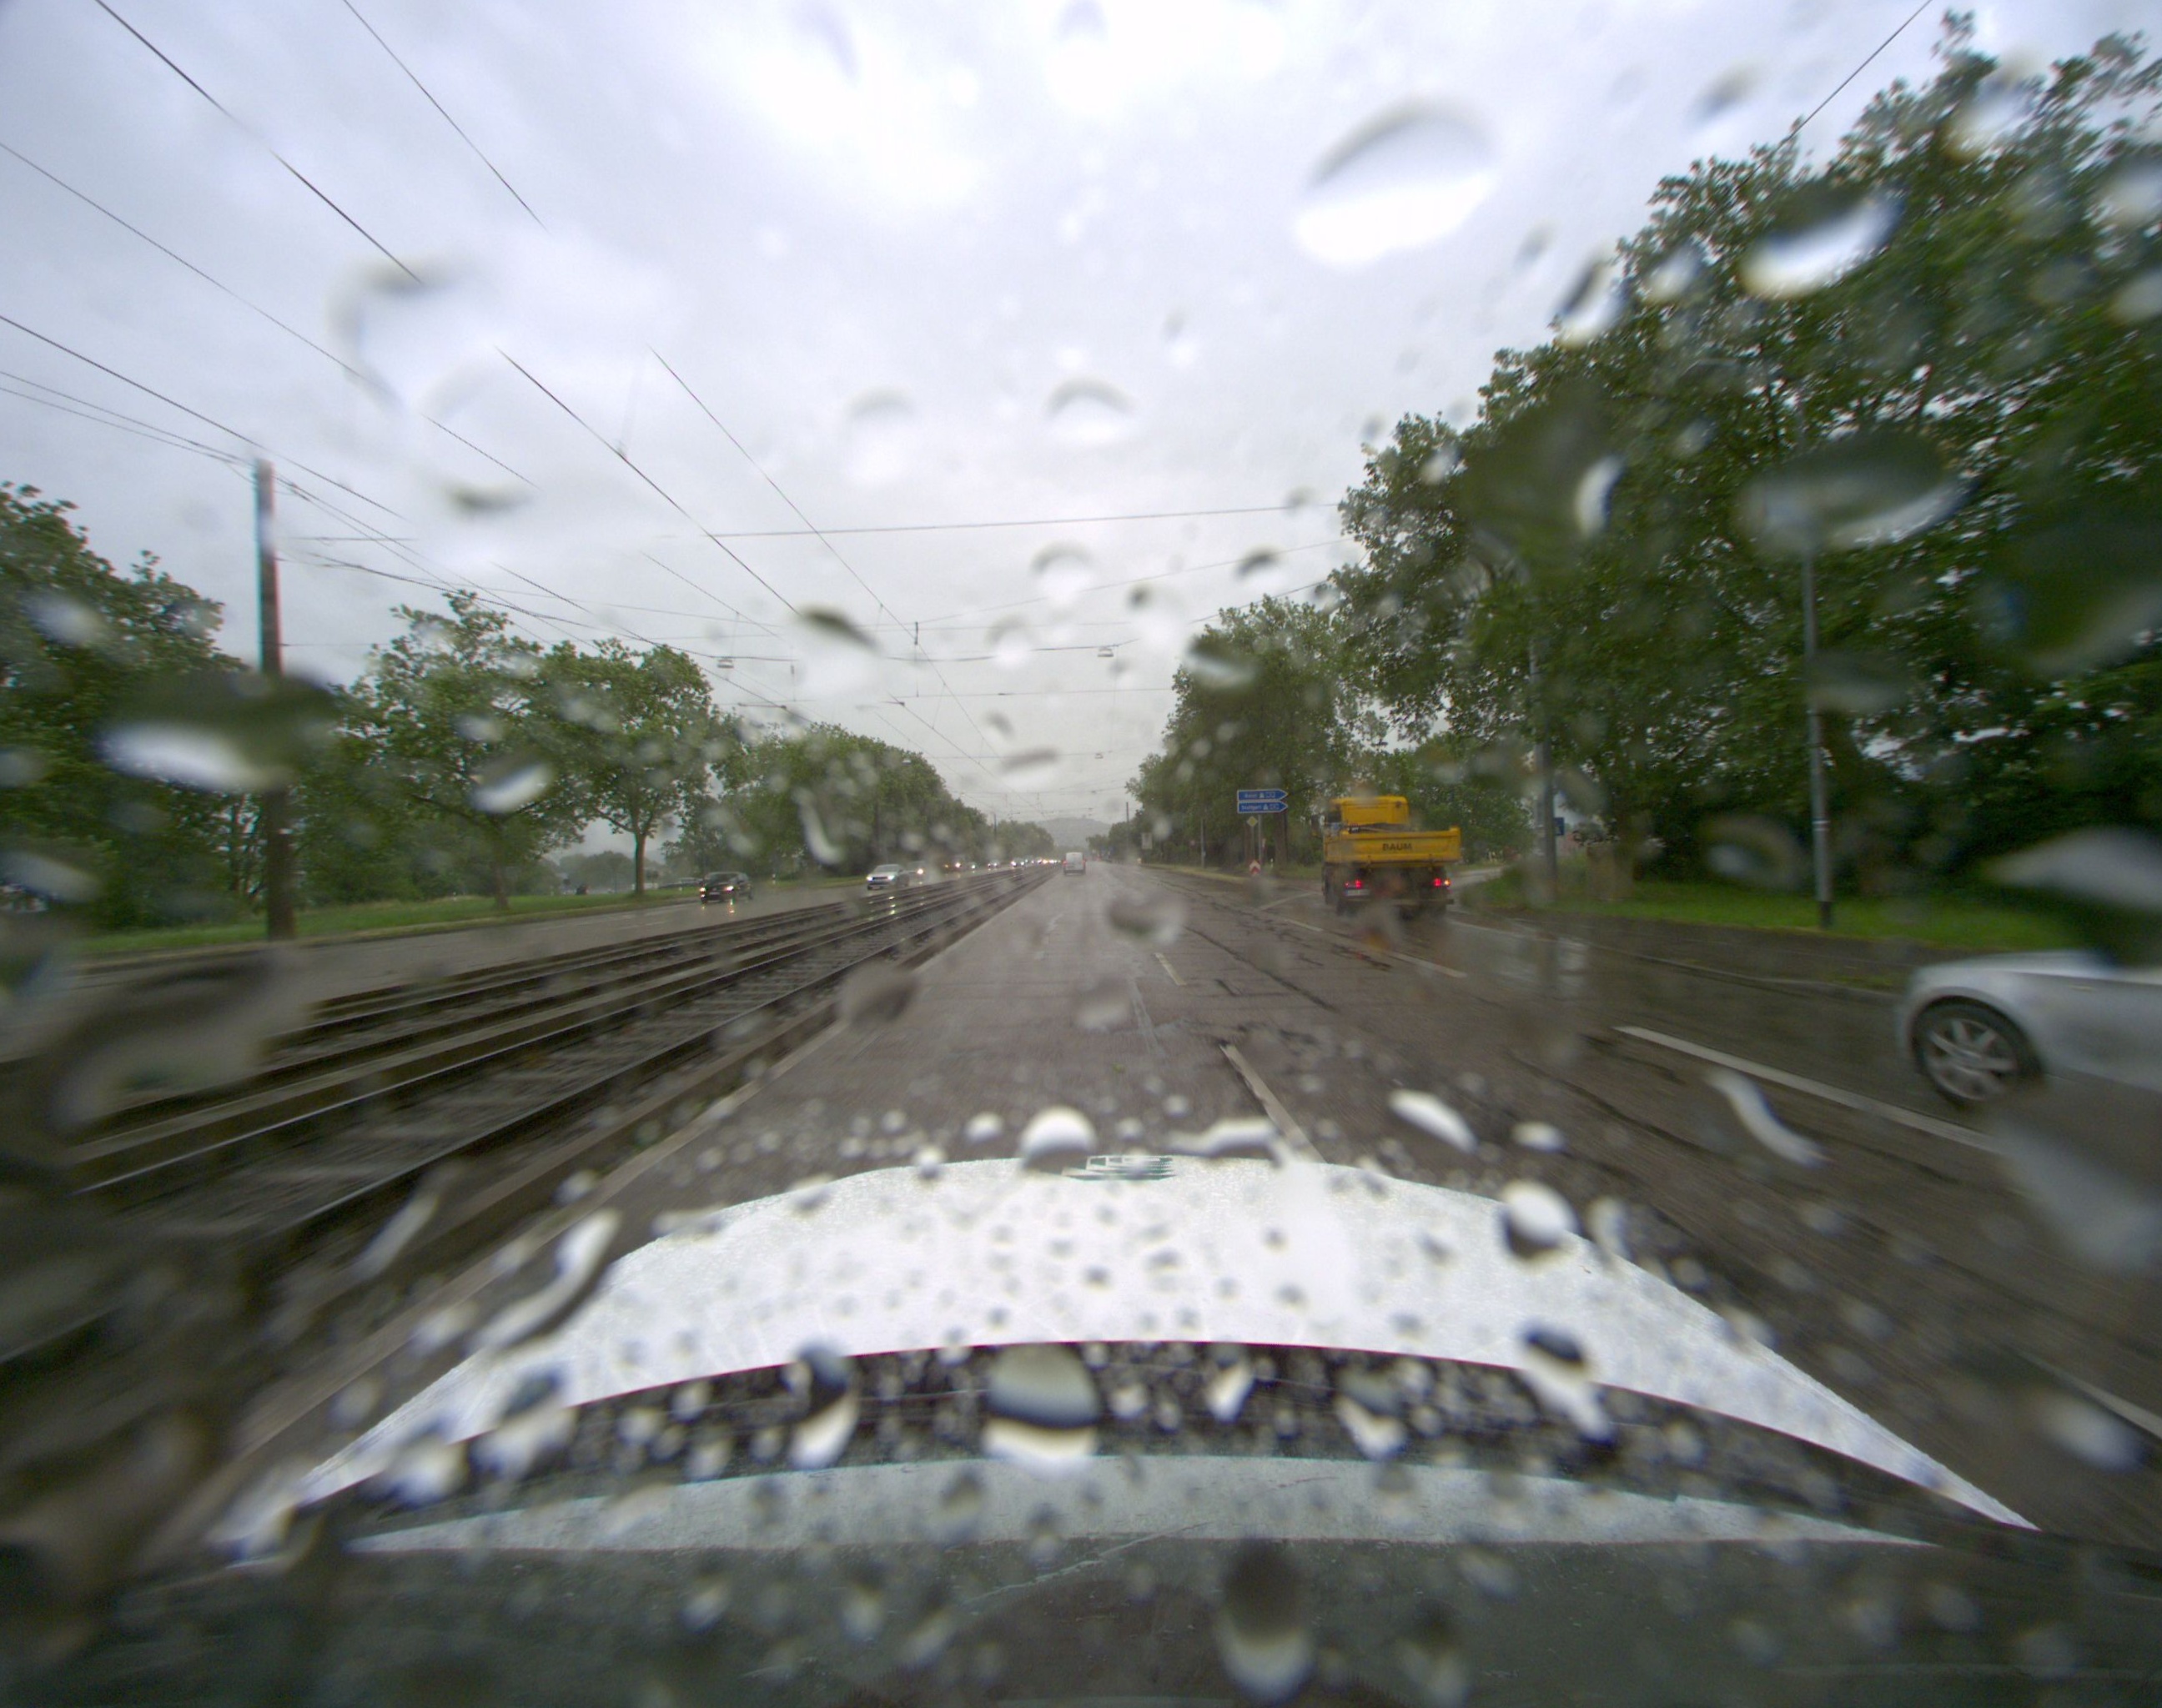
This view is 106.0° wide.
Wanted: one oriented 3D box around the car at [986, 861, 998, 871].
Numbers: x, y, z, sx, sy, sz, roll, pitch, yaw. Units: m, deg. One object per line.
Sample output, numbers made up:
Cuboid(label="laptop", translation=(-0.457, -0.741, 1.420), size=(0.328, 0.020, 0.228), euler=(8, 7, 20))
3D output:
Cuboid(label="car", translation=(-16.503, 2.292, 151.251), size=(1.813, 1.706, 5.020), euler=(0, 1, 0))

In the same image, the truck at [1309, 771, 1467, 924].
Cuboid(label="truck", translation=(7.523, -0.182, 20.904), size=(2.540, 3.257, 6.952), euler=(0, 1, 10))

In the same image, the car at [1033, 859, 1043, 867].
Cuboid(label="car", translation=(-9.657, 2.055, 183.465), size=(1.770, 1.585, 5.681), euler=(0, 1, 0))

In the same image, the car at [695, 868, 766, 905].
Cuboid(label="car", translation=(-16.767, 1.527, 39.198), size=(1.684, 1.552, 3.999), euler=(0, 1, 0))

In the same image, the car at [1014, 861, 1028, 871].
Cuboid(label="car", translation=(-10.339, 2.131, 140.797), size=(1.783, 1.549, 5.316), euler=(0, 1, 2))

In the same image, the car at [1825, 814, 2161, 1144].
Cuboid(label="car", translation=(5.712, 0.571, 3.105), size=(1.621, 1.503, 4.607), euler=(0, 1, 1))

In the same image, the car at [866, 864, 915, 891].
Cuboid(label="car", translation=(-11.236, 1.362, 48.282), size=(1.736, 1.354, 4.546), euler=(0, 1, 1))

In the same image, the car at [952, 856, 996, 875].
Cuboid(label="car", translation=(-14.133, 1.492, 108.198), size=(2.309, 2.425, 5.886), euler=(0, 1, 38))

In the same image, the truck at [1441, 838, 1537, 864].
Cuboid(label="truck", translation=(81.081, -0.546, 162.112), size=(16.560, 4.159, 3.312), euler=(-5, -2, 31))

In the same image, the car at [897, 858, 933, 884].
Cuboid(label="car", translation=(-12.908, 1.274, 63.621), size=(1.882, 1.809, 5.002), euler=(0, 1, -1))

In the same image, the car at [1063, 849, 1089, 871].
Cuboid(label="car", translation=(-0.368, 0.426, 64.818), size=(1.982, 1.684, 3.741), euler=(0, 1, 2))

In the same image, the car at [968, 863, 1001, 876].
Cuboid(label="car", translation=(-14.549, 2.368, 123.081), size=(2.063, 1.798, 4.794), euler=(0, 1, 39))
